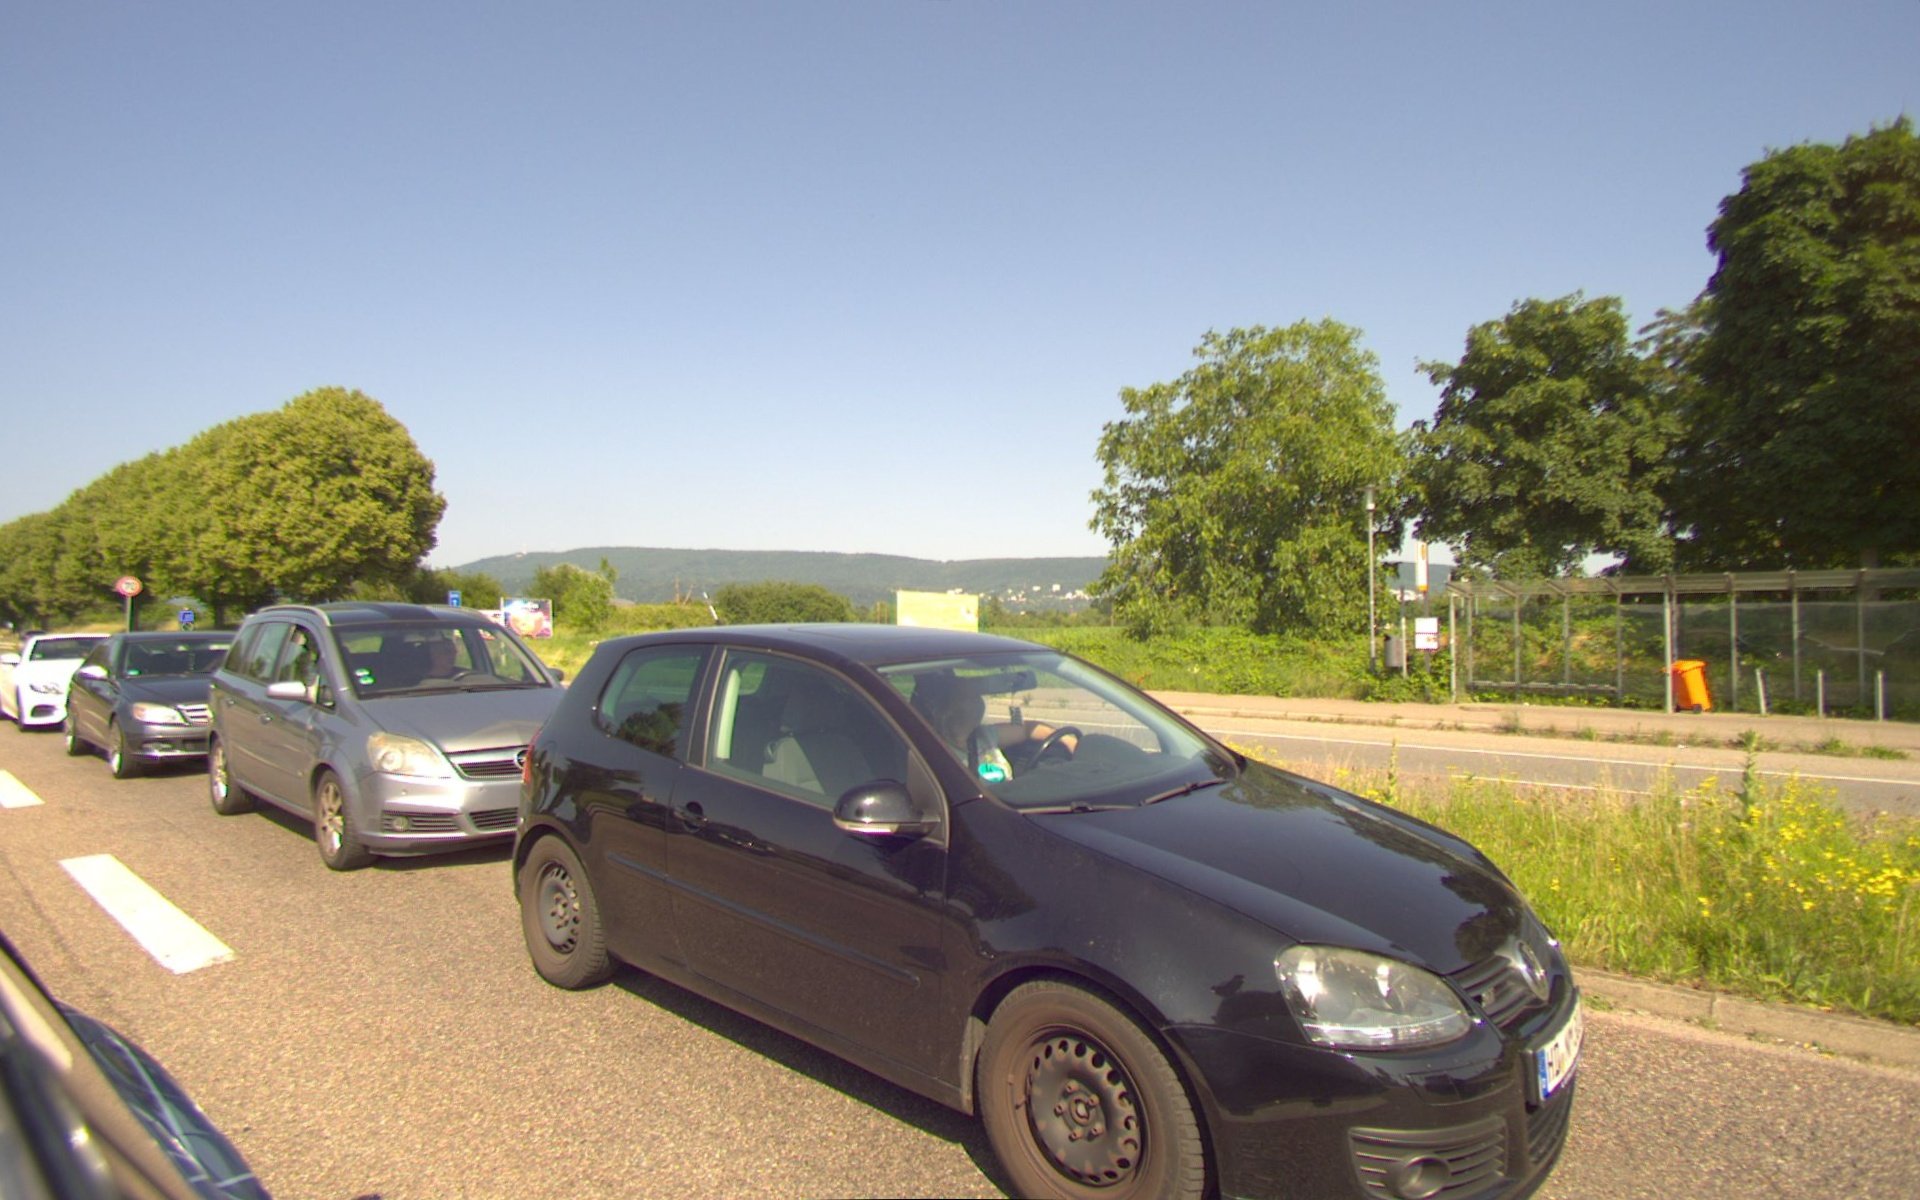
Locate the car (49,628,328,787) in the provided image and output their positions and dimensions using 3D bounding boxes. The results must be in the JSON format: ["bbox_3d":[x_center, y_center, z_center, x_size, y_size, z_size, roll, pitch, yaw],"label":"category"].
[{"bbox_3d":[-8.719,1.043,11.292,4.353,1.421,1.696,-2,-1,42],"label":"car"}]

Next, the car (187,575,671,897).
[{"bbox_3d":[-4.085,0.767,7.406,4.355,1.685,1.723,-2,-1,42],"label":"car"}]

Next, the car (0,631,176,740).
[{"bbox_3d":[-13.961,1.222,15.892,4.639,1.436,1.784,-2,-1,41],"label":"car"}]

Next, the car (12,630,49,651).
[{"bbox_3d":[-86.202,3.784,93.811,4.952,1.854,1.972,-2,-4,42],"label":"car"}]

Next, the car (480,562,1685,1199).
[{"bbox_3d":[-0.015,0.739,3.642,4.096,1.486,1.648,-2,-2,42],"label":"car"}]
